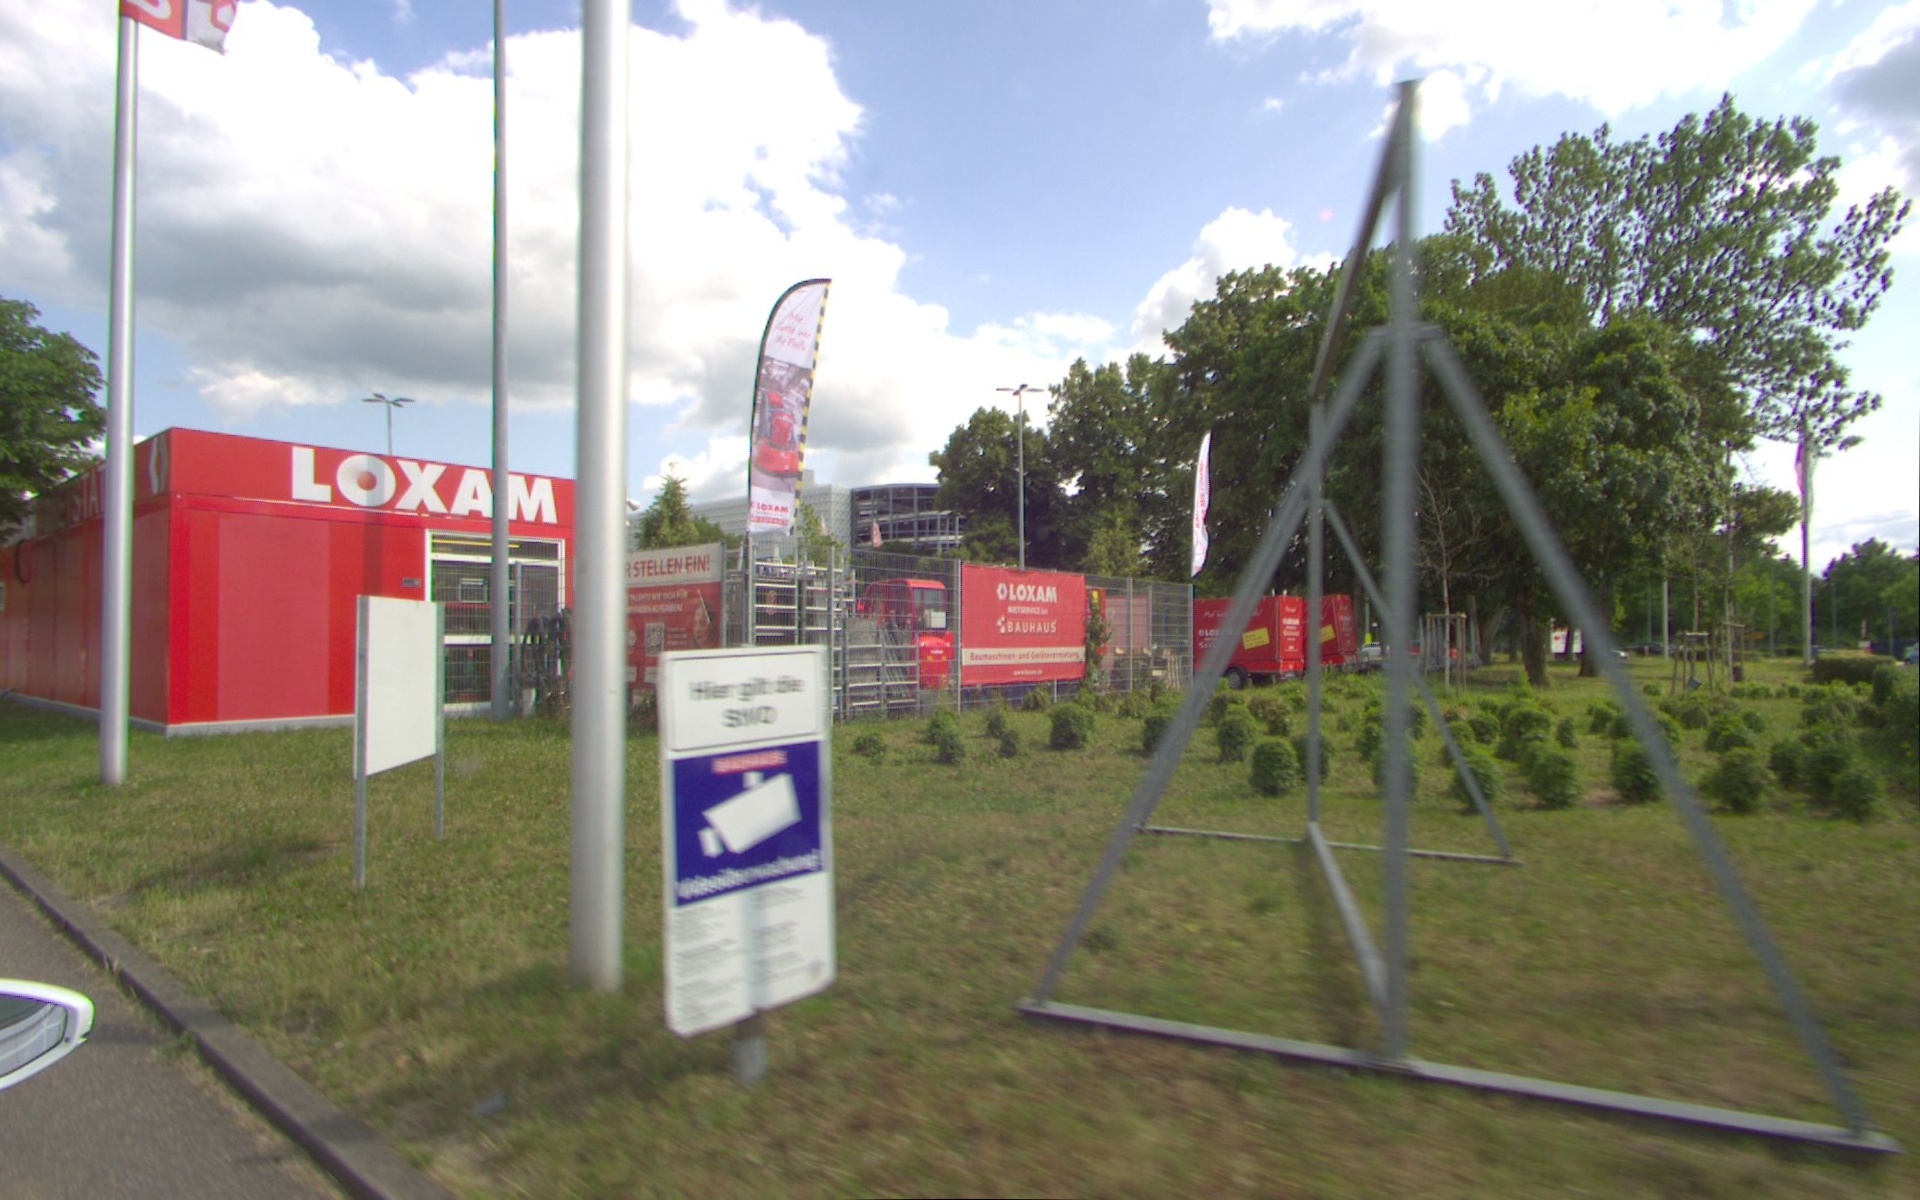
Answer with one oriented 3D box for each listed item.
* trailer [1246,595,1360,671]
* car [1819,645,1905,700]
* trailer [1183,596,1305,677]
[{"bbox_3d":[9.783,0.944,28.577,2.760,2.039,1.490,-1,-2,38],"label":"trailer"},{"bbox_3d":[28.197,2.275,31.399,1.699,1.558,3.662,-6,-6,39],"label":"car"},{"bbox_3d":[7.500,0.960,26.519,2.764,2.039,1.488,-1,-2,42],"label":"trailer"}]
